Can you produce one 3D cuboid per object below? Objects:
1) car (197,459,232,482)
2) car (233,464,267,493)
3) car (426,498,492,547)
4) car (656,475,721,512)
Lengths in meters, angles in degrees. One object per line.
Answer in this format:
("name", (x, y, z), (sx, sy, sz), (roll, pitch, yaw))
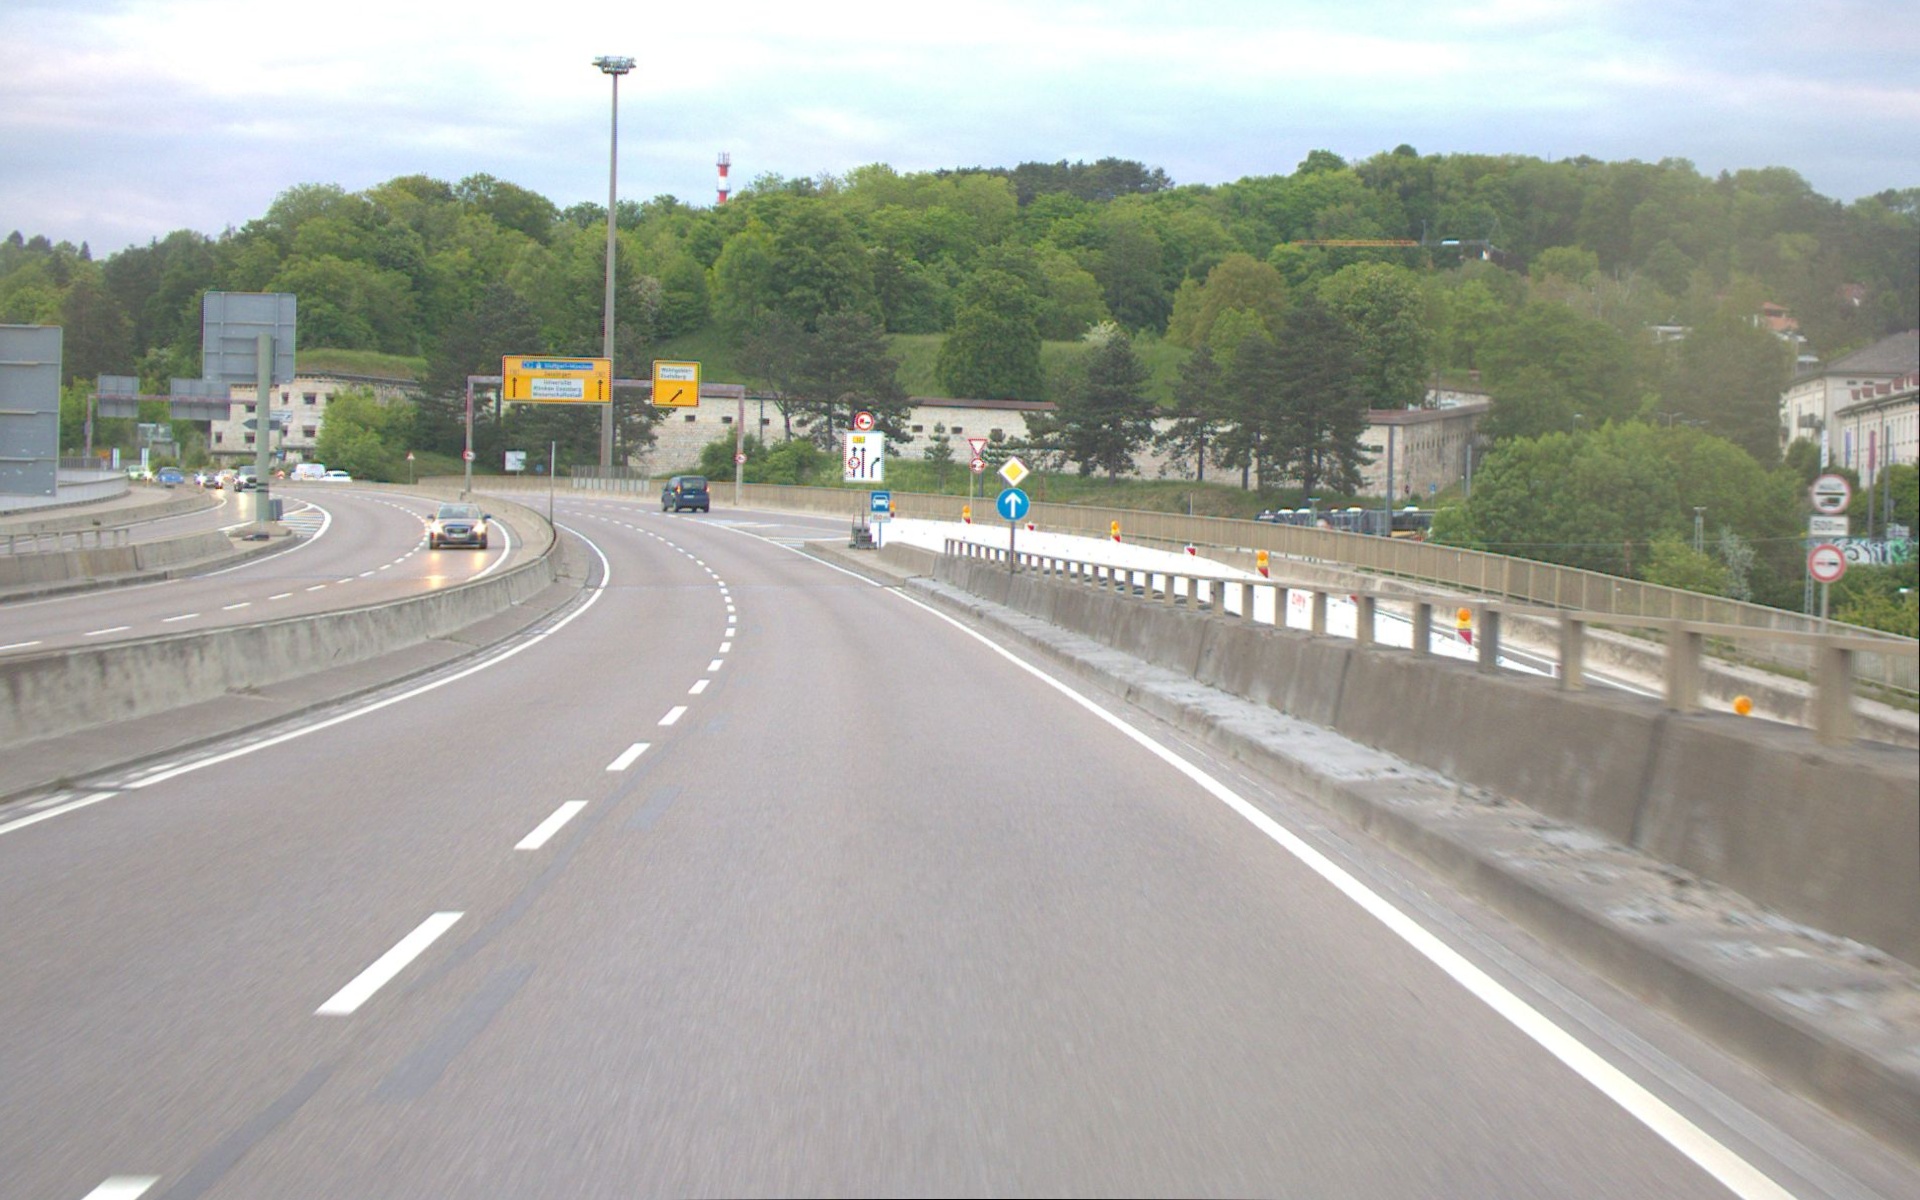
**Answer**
("car", (-51.709, -8.971, 238.283), (1.795, 1.481, 3.843), (0, 1, -21))
("car", (-45.455, -7.773, 220.064), (1.636, 1.711, 4.001), (-4, 2, -18))
("car", (-15.744, -2.434, 108.239), (1.829, 1.475, 4.288), (1, 1, -5))
("car", (-13.735, -5.389, 173.636), (2.304, 1.757, 4.264), (2, 2, -18))
